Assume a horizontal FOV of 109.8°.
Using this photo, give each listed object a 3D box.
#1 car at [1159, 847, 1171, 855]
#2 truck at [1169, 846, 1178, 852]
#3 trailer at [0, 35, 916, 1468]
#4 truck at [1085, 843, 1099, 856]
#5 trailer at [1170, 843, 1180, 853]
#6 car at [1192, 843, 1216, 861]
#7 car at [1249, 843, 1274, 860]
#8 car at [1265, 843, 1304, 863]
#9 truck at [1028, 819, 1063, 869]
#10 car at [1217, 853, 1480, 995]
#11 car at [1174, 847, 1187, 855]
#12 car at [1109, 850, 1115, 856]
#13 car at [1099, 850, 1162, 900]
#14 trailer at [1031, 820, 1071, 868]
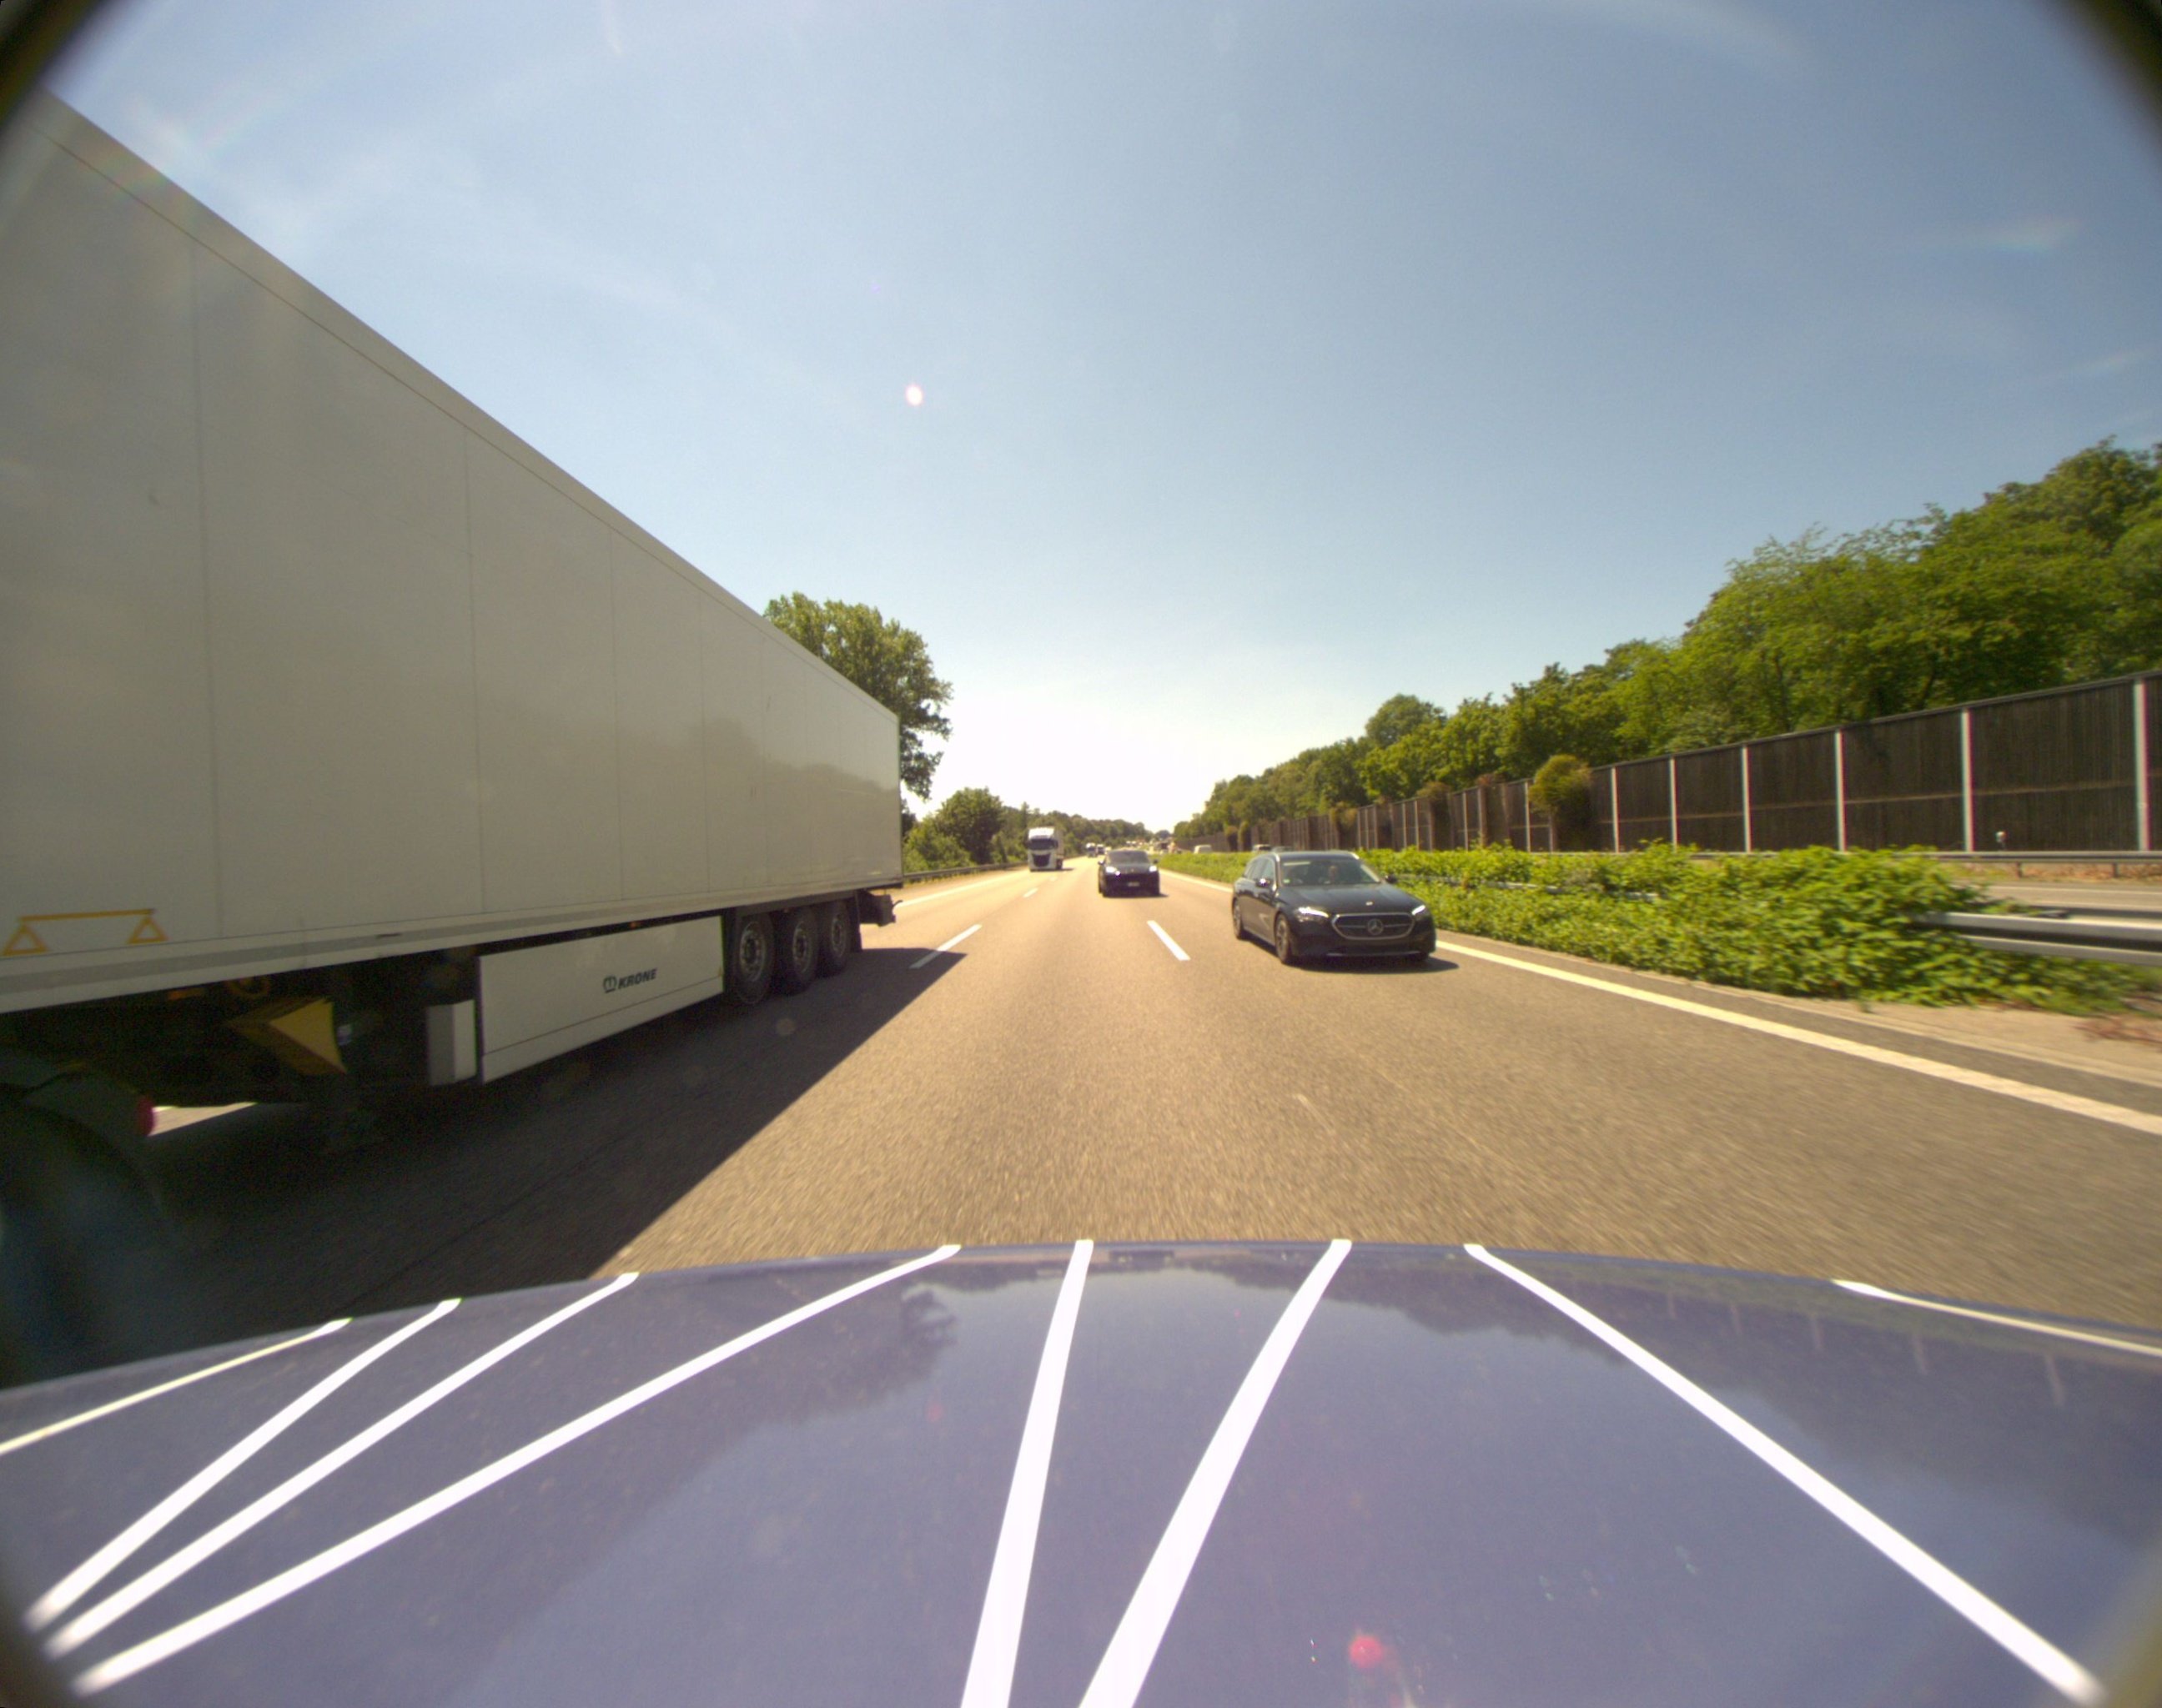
[{"bbox_3d":[17.209,-0.590,156.316,1.998,1.637,5.045,-2,0,1],"label":"car"},{"bbox_3d":[29.328,-1.442,241.008,2.106,1.805,6.212,-2,0,3],"label":"truck"},{"bbox_3d":[-4.522,-0.317,7.226,2.966,4.082,12.531,-2,0,0],"label":"trailer"},{"bbox_3d":[3.298,-1.260,221.716,3.073,3.617,12.404,-2,1,5],"label":"truck"},{"bbox_3d":[29.015,-1.886,234.657,2.247,2.760,6.510,-2,0,3],"label":"trailer"},{"bbox_3d":[14.531,-0.298,89.917,1.998,2.002,5.346,-2,0,0],"label":"car"},{"bbox_3d":[22.854,-0.351,96.548,1.998,2.002,5.385,-2,0,2],"label":"car"},{"bbox_3d":[18.028,-0.125,67.653,1.998,1.634,5.586,-2,0,0],"label":"car"},{"bbox_3d":[-3.296,-0.952,72.135,2.541,4.446,5.573,-2,1,3],"label":"truck"},{"bbox_3d":[3.524,0.784,11.433,1.948,1.498,5.820,-2,0,1],"label":"car"},{"bbox_3d":[21.750,-0.661,166.205,1.999,1.637,4.692,-2,0,-1],"label":"car"},{"bbox_3d":[9.879,-0.444,241.294,1.908,1.717,4.871,-2,1,4],"label":"car"},{"bbox_3d":[1.725,0.691,28.231,2.048,1.616,5.771,-2,0,1],"label":"car"},{"bbox_3d":[-2.930,-1.018,78.353,2.541,4.446,14.162,-2,1,3],"label":"trailer"}]
